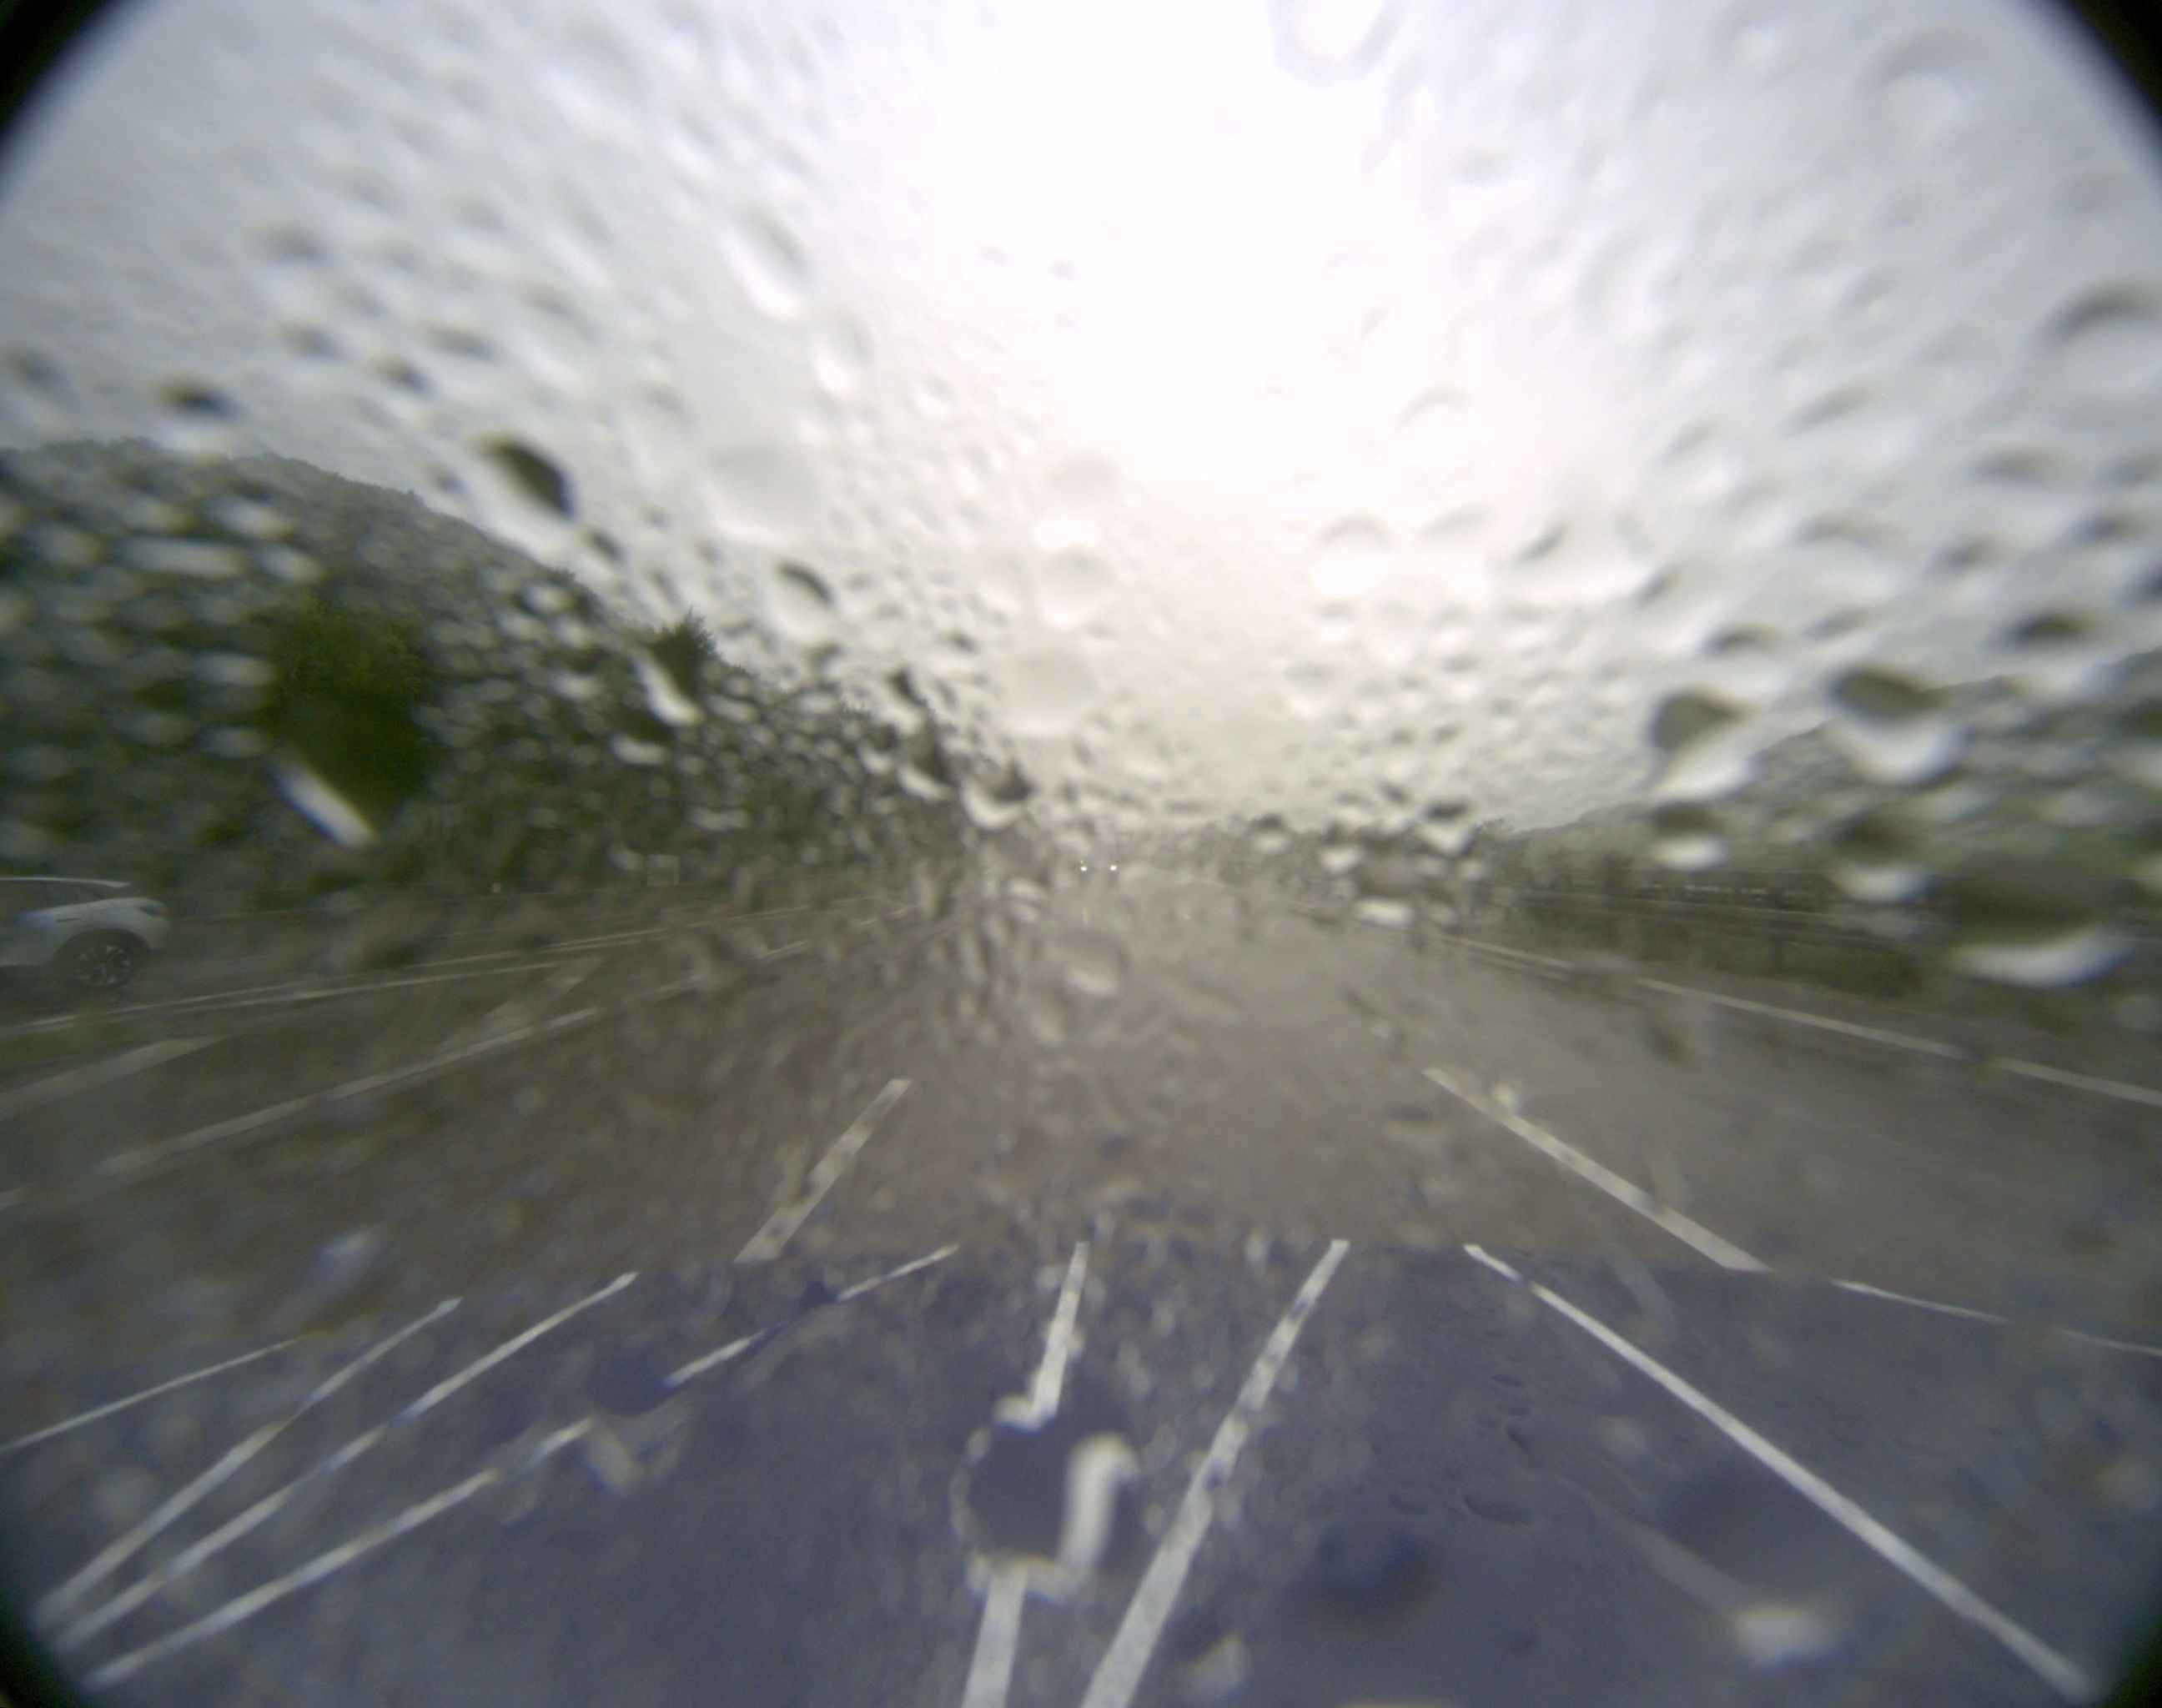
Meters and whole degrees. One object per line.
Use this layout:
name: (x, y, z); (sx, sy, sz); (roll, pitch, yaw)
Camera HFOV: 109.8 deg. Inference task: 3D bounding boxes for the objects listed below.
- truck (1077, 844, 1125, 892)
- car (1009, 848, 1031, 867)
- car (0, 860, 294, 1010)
truck: (0.878, 0.540, 35.743); (1.998, 2.002, 7.575); (-1, 1, 1)
car: (-6.856, 0.346, 85.672); (1.858, 2.002, 4.001); (-1, 0, 4)
car: (-14.132, 1.060, 9.601); (1.997, 1.740, 5.665); (-2, 1, 7)
